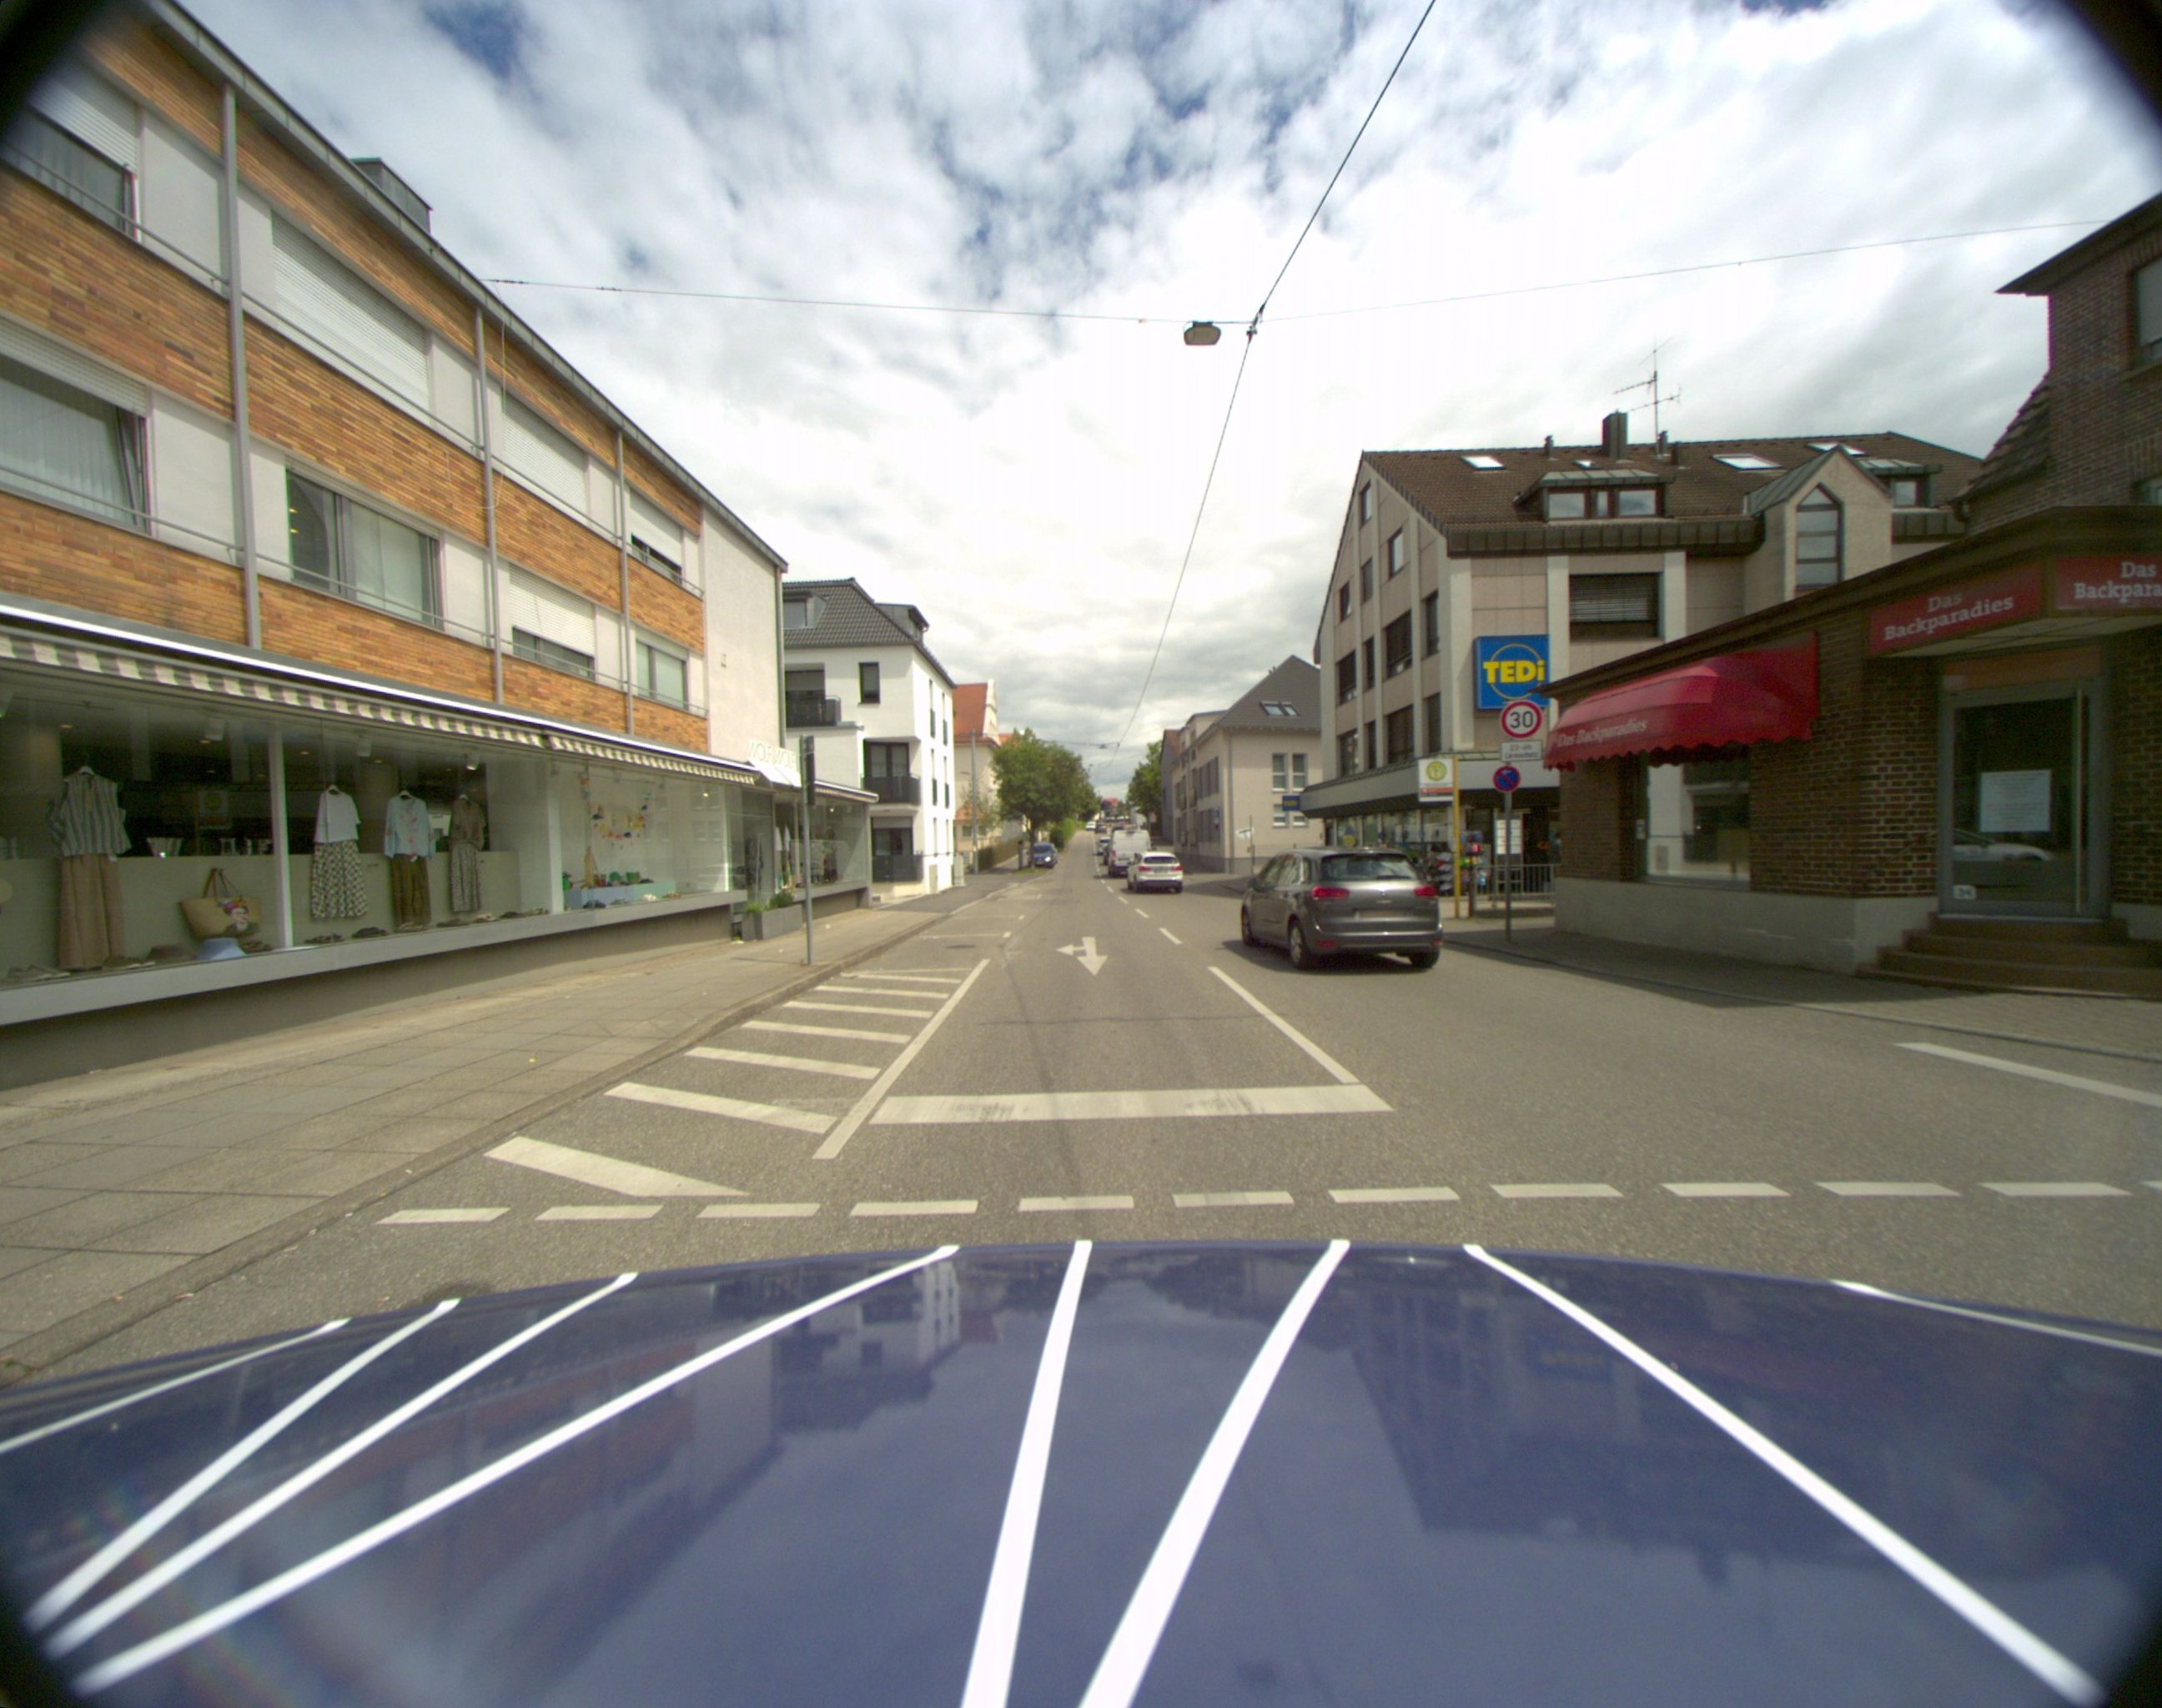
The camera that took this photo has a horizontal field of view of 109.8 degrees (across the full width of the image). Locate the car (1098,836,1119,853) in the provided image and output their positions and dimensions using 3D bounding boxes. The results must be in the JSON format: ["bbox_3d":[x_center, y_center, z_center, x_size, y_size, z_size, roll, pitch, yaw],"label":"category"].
[{"bbox_3d":[2.550,-0.916,71.112,1.779,1.604,4.118,0,2,-2],"label":"car"}]

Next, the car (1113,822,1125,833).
[{"bbox_3d":[5.819,-4.080,115.806,1.673,1.546,3.963,-1,4,1],"label":"car"}]

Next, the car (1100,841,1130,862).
[{"bbox_3d":[2.489,-0.198,56.243,1.796,1.502,3.843,-1,1,-3],"label":"car"}]

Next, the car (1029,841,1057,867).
[{"bbox_3d":[-2.653,-0.032,54.353,1.698,1.733,4.158,-1,2,1],"label":"car"}]

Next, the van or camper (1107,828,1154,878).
[{"bbox_3d":[2.687,-0.049,42.338,2.154,2.541,5.437,-1,0,-1],"label":"van or camper"}]

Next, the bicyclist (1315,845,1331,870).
[{"bbox_3d":[11.938,0.180,37.533,0.640,1.235,0.427,0,3,33],"label":"bicyclist"}]

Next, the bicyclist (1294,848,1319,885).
[{"bbox_3d":[8.751,0.474,29.558,0.669,1.330,0.761,-5,3,0],"label":"bicyclist"}]

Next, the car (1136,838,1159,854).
[{"bbox_3d":[5.682,-0.652,64.863,1.665,1.322,3.473,-1,1,1],"label":"car"}]

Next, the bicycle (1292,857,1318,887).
[{"bbox_3d":[8.662,0.686,29.406,0.444,1.044,1.733,-5,2,0],"label":"bicycle"}]

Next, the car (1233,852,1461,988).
[{"bbox_3d":[3.551,0.774,11.002,1.794,1.580,4.100,-1,0,-1],"label":"car"}]

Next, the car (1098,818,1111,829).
[{"bbox_3d":[3.942,-5.080,128.256,1.946,1.709,4.596,-1,1,0],"label":"car"}]

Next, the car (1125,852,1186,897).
[{"bbox_3d":[2.896,0.753,30.513,1.785,1.630,4.218,0,1,-4],"label":"car"}]
